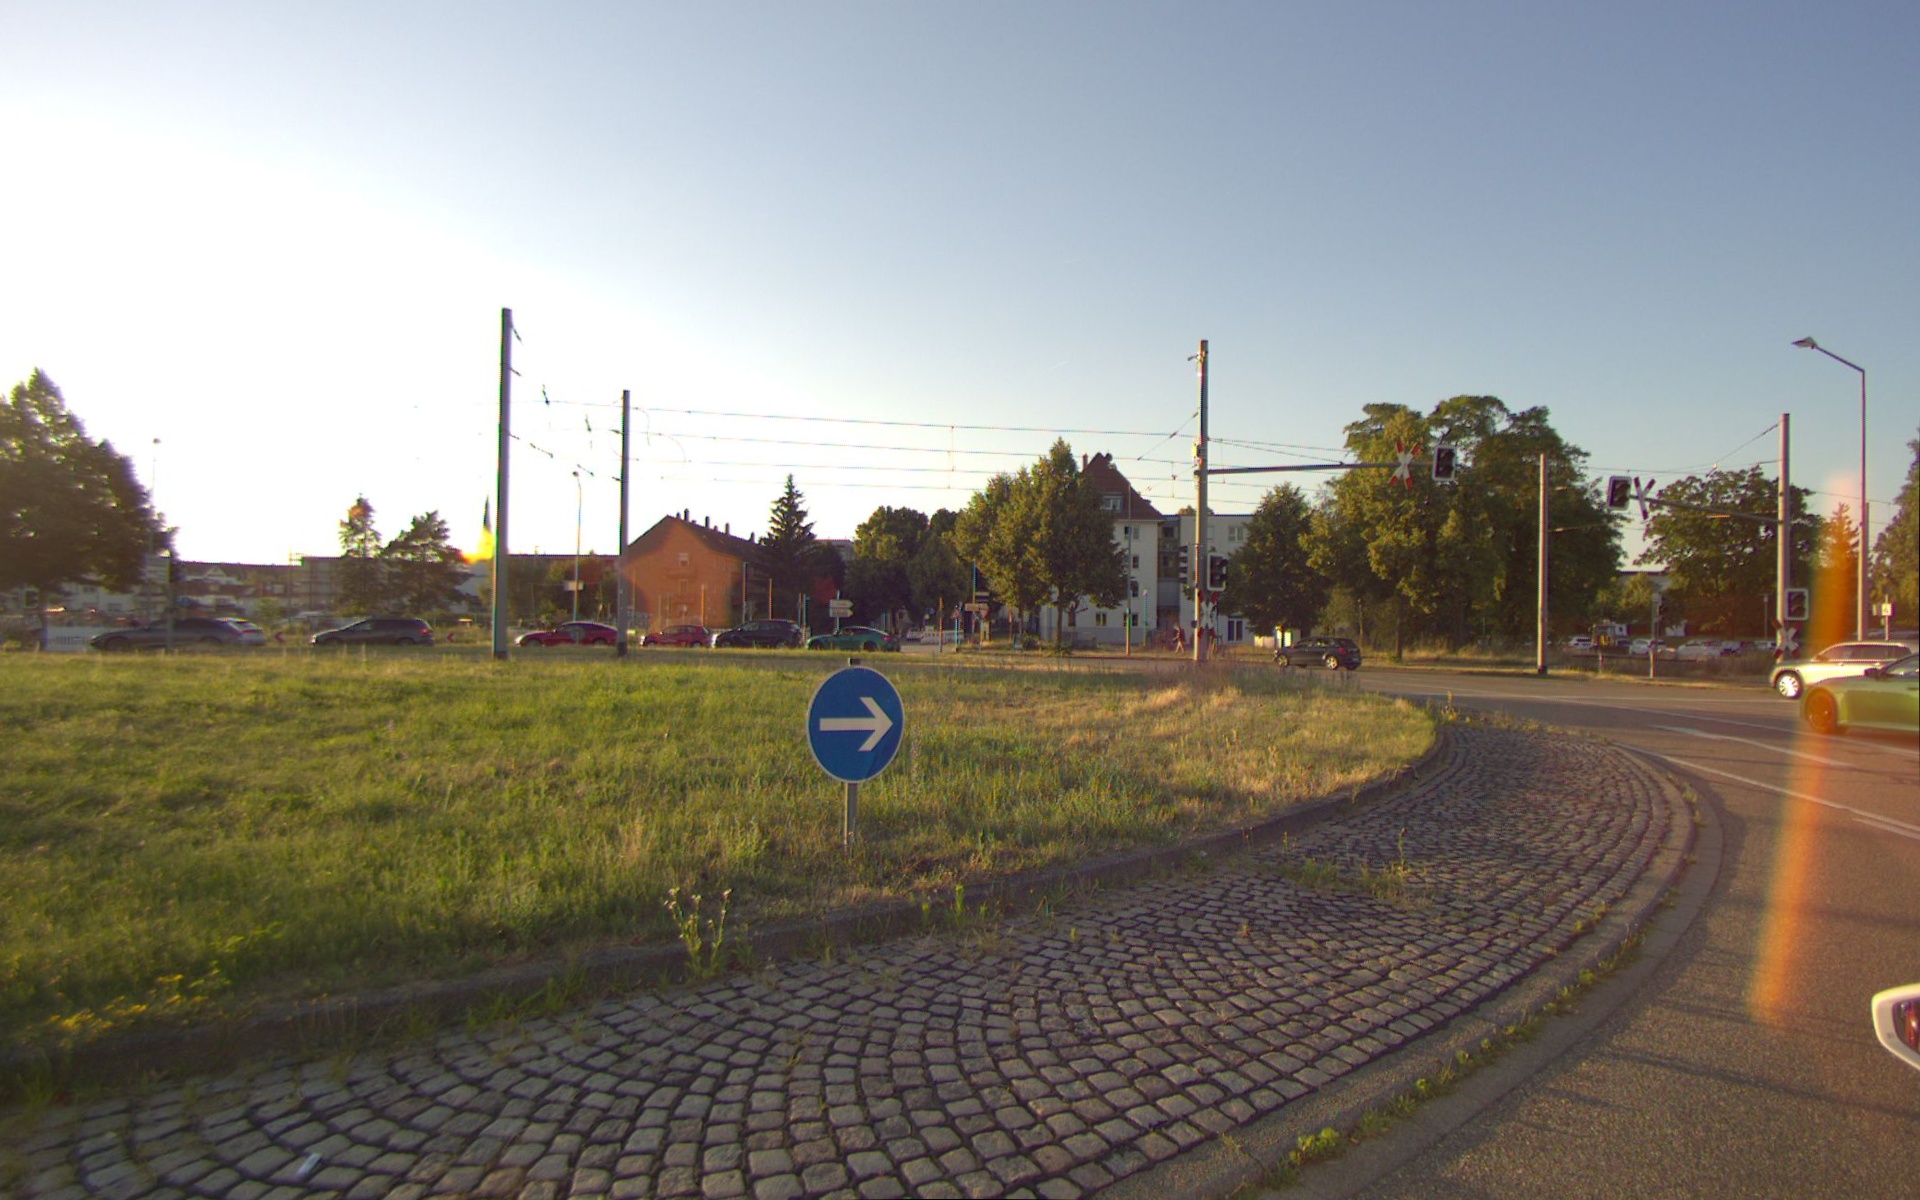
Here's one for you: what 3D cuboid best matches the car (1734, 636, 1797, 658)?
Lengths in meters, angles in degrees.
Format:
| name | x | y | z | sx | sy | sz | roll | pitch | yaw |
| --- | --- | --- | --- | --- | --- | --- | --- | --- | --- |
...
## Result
| name | x | y | z | sx | sy | sz | roll | pitch | yaw |
| --- | --- | --- | --- | --- | --- | --- | --- | --- | --- |
| car | 64.018 | 3.722 | 79.920 | 1.960 | 1.625 | 4.002 | 1 | -1 | 3 |

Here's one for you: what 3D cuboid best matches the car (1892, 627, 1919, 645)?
| name | x | y | z | sx | sy | sz | roll | pitch | yaw |
| --- | --- | --- | --- | --- | --- | --- | --- | --- | --- |
| car | 107.457 | 4.036 | 112.583 | 3.919 | 2.040 | 2.001 | 1 | -1 | 11 |

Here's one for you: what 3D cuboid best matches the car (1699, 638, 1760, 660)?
| name | x | y | z | sx | sy | sz | roll | pitch | yaw |
| --- | --- | --- | --- | --- | --- | --- | --- | --- | --- |
| car | 61.638 | 3.918 | 80.549 | 1.960 | 1.625 | 4.002 | 1 | -1 | 3 |

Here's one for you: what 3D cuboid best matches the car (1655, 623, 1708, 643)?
| name | x | y | z | sx | sy | sz | roll | pitch | yaw |
| --- | --- | --- | --- | --- | --- | --- | --- | --- | --- |
| car | 80.234 | 3.655 | 111.728 | 4.507 | 2.040 | 2.000 | 1 | -1 | 0 |

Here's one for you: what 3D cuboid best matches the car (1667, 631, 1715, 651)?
| name | x | y | z | sx | sy | sz | roll | pitch | yaw |
| --- | --- | --- | --- | --- | --- | --- | --- | --- | --- |
| car | 75.752 | 4.236 | 104.140 | 3.934 | 2.040 | 1.994 | 0 | -1 | 35 |

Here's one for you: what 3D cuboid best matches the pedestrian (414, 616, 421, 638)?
| name | x | y | z | sx | sy | sz | roll | pitch | yaw |
| --- | --- | --- | --- | --- | --- | --- | --- | --- | --- |
| pedestrian | -33.437 | 1.682 | 61.900 | 0.392 | 1.325 | 0.426 | 1 | -1 | -30 |

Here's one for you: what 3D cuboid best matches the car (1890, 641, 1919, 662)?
| name | x | y | z | sx | sy | sz | roll | pitch | yaw |
| --- | --- | --- | --- | --- | --- | --- | --- | --- | --- |
| car | 76.355 | 4.094 | 79.463 | 1.960 | 1.625 | 4.002 | 1 | -1 | 3 |

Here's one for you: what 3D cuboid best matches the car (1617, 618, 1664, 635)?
| name | x | y | z | sx | sy | sz | roll | pitch | yaw |
| --- | --- | --- | --- | --- | --- | --- | --- | --- | --- |
| car | 86.260 | 3.393 | 127.427 | 4.505 | 2.040 | 2.001 | 1 | -1 | 5 |

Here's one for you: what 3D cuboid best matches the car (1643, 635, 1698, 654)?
| name | x | y | z | sx | sy | sz | roll | pitch | yaw |
| --- | --- | --- | --- | --- | --- | --- | --- | --- | --- |
| car | 69.214 | 4.337 | 97.920 | 3.919 | 1.684 | 1.904 | 1 | -1 | 5 |

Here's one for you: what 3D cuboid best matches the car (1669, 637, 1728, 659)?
| name | x | y | z | sx | sy | sz | roll | pitch | yaw |
| --- | --- | --- | --- | --- | --- | --- | --- | --- | --- |
| car | 59.519 | 3.856 | 81.027 | 1.960 | 1.625 | 4.002 | 1 | -1 | 3 |

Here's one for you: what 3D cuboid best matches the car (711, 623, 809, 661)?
| name | x | y | z | sx | sy | sz | roll | pitch | yaw |
| --- | --- | --- | --- | --- | --- | --- | --- | --- | --- |
| car | -9.080 | 1.894 | 45.656 | 3.919 | 1.605 | 1.897 | 1 | -1 | 12 |

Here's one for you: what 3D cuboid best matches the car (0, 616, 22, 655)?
| name | x | y | z | sx | sy | sz | roll | pitch | yaw |
| --- | --- | --- | --- | --- | --- | --- | --- | --- | --- |
| car | -44.863 | 1.570 | 44.950 | 3.920 | 1.695 | 2.001 | 1 | -1 | 2 |

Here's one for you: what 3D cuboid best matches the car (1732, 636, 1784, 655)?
| name | x | y | z | sx | sy | sz | roll | pitch | yaw |
| --- | --- | --- | --- | --- | --- | --- | --- | --- | --- |
| car | 77.351 | 4.426 | 97.402 | 3.938 | 1.684 | 1.894 | 0 | -1 | 39 |

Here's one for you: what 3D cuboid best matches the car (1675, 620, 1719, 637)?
| name | x | y | z | sx | sy | sz | roll | pitch | yaw |
| --- | --- | --- | --- | --- | --- | --- | --- | --- | --- |
| car | 93.210 | 3.599 | 127.018 | 4.033 | 2.040 | 2.001 | 1 | -1 | 4 |

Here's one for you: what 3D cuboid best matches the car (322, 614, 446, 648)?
| name | x | y | z | sx | sy | sz | roll | pitch | yaw |
| --- | --- | --- | --- | --- | --- | --- | --- | --- | --- |
| car | -24.300 | 1.321 | 42.563 | 4.323 | 1.394 | 1.989 | 1 | -1 | -24 |

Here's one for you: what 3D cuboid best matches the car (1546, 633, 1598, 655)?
| name | x | y | z | sx | sy | sz | roll | pitch | yaw |
| --- | --- | --- | --- | --- | --- | --- | --- | --- | --- |
| car | 49.417 | 3.551 | 81.219 | 1.960 | 1.625 | 4.002 | 1 | -1 | 3 |

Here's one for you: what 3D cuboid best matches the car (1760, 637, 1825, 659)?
| name | x | y | z | sx | sy | sz | roll | pitch | yaw |
| --- | --- | --- | --- | --- | --- | --- | --- | --- | --- |
| car | 66.372 | 3.795 | 80.159 | 1.960 | 1.625 | 4.002 | 1 | -1 | 3 |

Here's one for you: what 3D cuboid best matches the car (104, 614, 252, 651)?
| name | x | y | z | sx | sy | sz | roll | pitch | yaw |
| --- | --- | --- | --- | --- | --- | --- | --- | --- | --- |
| car | -30.663 | 1.263 | 39.562 | 4.299 | 1.394 | 1.985 | 1 | -1 | -29 |

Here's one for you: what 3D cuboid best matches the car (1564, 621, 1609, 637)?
| name | x | y | z | sx | sy | sz | roll | pitch | yaw |
| --- | --- | --- | --- | --- | --- | --- | --- | --- | --- |
| car | 79.585 | 3.662 | 127.612 | 4.507 | 2.040 | 2.000 | 1 | -1 | 0 |

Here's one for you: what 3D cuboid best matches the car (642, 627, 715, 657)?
| name | x | y | z | sx | sy | sz | roll | pitch | yaw |
| --- | --- | --- | --- | --- | --- | --- | --- | --- | --- |
| car | -14.967 | 2.217 | 53.493 | 3.424 | 1.519 | 1.642 | 1 | -1 | -5 |

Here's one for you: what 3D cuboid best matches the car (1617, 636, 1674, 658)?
| name | x | y | z | sx | sy | sz | roll | pitch | yaw |
| --- | --- | --- | --- | --- | --- | --- | --- | --- | --- |
| car | 54.759 | 3.709 | 80.326 | 1.960 | 1.625 | 4.002 | 1 | -1 | 3 |

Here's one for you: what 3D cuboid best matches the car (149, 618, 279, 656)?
| name | x | y | z | sx | sy | sz | roll | pitch | yaw |
| --- | --- | --- | --- | --- | --- | --- | --- | --- | --- |
| car | -35.756 | 1.769 | 48.254 | 4.626 | 1.728 | 1.999 | 1 | -1 | -5 |

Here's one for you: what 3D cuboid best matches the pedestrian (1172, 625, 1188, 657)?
| name | x | y | z | sx | sy | sz | roll | pitch | yaw |
| --- | --- | --- | --- | --- | --- | --- | --- | --- | --- |
| pedestrian | 13.298 | 2.487 | 60.728 | 0.614 | 1.918 | 0.662 | 2 | 0 | -35 |

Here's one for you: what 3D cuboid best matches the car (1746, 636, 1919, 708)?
| name | x | y | z | sx | sy | sz | roll | pitch | yaw |
| --- | --- | --- | --- | --- | --- | --- | --- | --- | --- |
| car | 23.787 | 1.825 | 26.611 | 1.964 | 1.659 | 4.518 | 1 | -1 | -10 |

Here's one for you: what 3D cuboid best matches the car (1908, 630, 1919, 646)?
| name | x | y | z | sx | sy | sz | roll | pitch | yaw |
| --- | --- | --- | --- | --- | --- | --- | --- | --- | --- |
| car | 105.589 | 4.119 | 108.706 | 1.971 | 1.728 | 3.979 | 1 | -1 | -22 |

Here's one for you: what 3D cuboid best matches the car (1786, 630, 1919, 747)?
| name | x | y | z | sx | sy | sz | roll | pitch | yaw |
| --- | --- | --- | --- | --- | --- | --- | --- | --- | --- |
| car | 14.429 | 1.265 | 14.455 | 1.959 | 1.600 | 4.489 | 1 | -1 | 10 |

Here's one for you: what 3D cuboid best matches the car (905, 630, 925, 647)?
| name | x | y | z | sx | sy | sz | roll | pitch | yaw |
| --- | --- | --- | --- | --- | --- | --- | --- | --- | --- |
| car | -5.107 | 4.420 | 114.637 | 1.960 | 1.840 | 4.001 | 1 | -1 | 1 |

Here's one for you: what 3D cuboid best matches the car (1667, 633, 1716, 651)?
| name | x | y | z | sx | sy | sz | roll | pitch | yaw |
| --- | --- | --- | --- | --- | --- | --- | --- | --- | --- |
| car | 73.165 | 4.196 | 100.564 | 3.934 | 1.684 | 1.994 | 0 | -1 | 35 |

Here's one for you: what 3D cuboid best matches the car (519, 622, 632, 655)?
| name | x | y | z | sx | sy | sz | roll | pitch | yaw |
| --- | --- | --- | --- | --- | --- | --- | --- | --- | --- |
| car | -17.161 | 1.726 | 45.036 | 4.418 | 1.410 | 1.892 | 1 | -1 | -12 |

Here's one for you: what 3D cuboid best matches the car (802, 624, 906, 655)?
| name | x | y | z | sx | sy | sz | roll | pitch | yaw |
| --- | --- | --- | --- | --- | --- | --- | --- | --- | --- |
| car | -5.152 | 1.882 | 49.034 | 4.641 | 1.389 | 2.000 | 0 | -1 | 19 |

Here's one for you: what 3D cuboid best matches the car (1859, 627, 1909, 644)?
| name | x | y | z | sx | sy | sz | roll | pitch | yaw |
| --- | --- | --- | --- | --- | --- | --- | --- | --- | --- |
| car | 108.037 | 4.136 | 117.435 | 3.919 | 1.840 | 2.001 | 1 | -1 | 5 |

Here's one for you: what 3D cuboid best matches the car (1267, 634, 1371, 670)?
| name | x | y | z | sx | sy | sz | roll | pitch | yaw |
| --- | --- | --- | --- | --- | --- | --- | --- | --- | --- |
| car | 15.558 | 2.240 | 43.704 | 1.679 | 1.372 | 3.956 | -2 | -1 | -39 |
